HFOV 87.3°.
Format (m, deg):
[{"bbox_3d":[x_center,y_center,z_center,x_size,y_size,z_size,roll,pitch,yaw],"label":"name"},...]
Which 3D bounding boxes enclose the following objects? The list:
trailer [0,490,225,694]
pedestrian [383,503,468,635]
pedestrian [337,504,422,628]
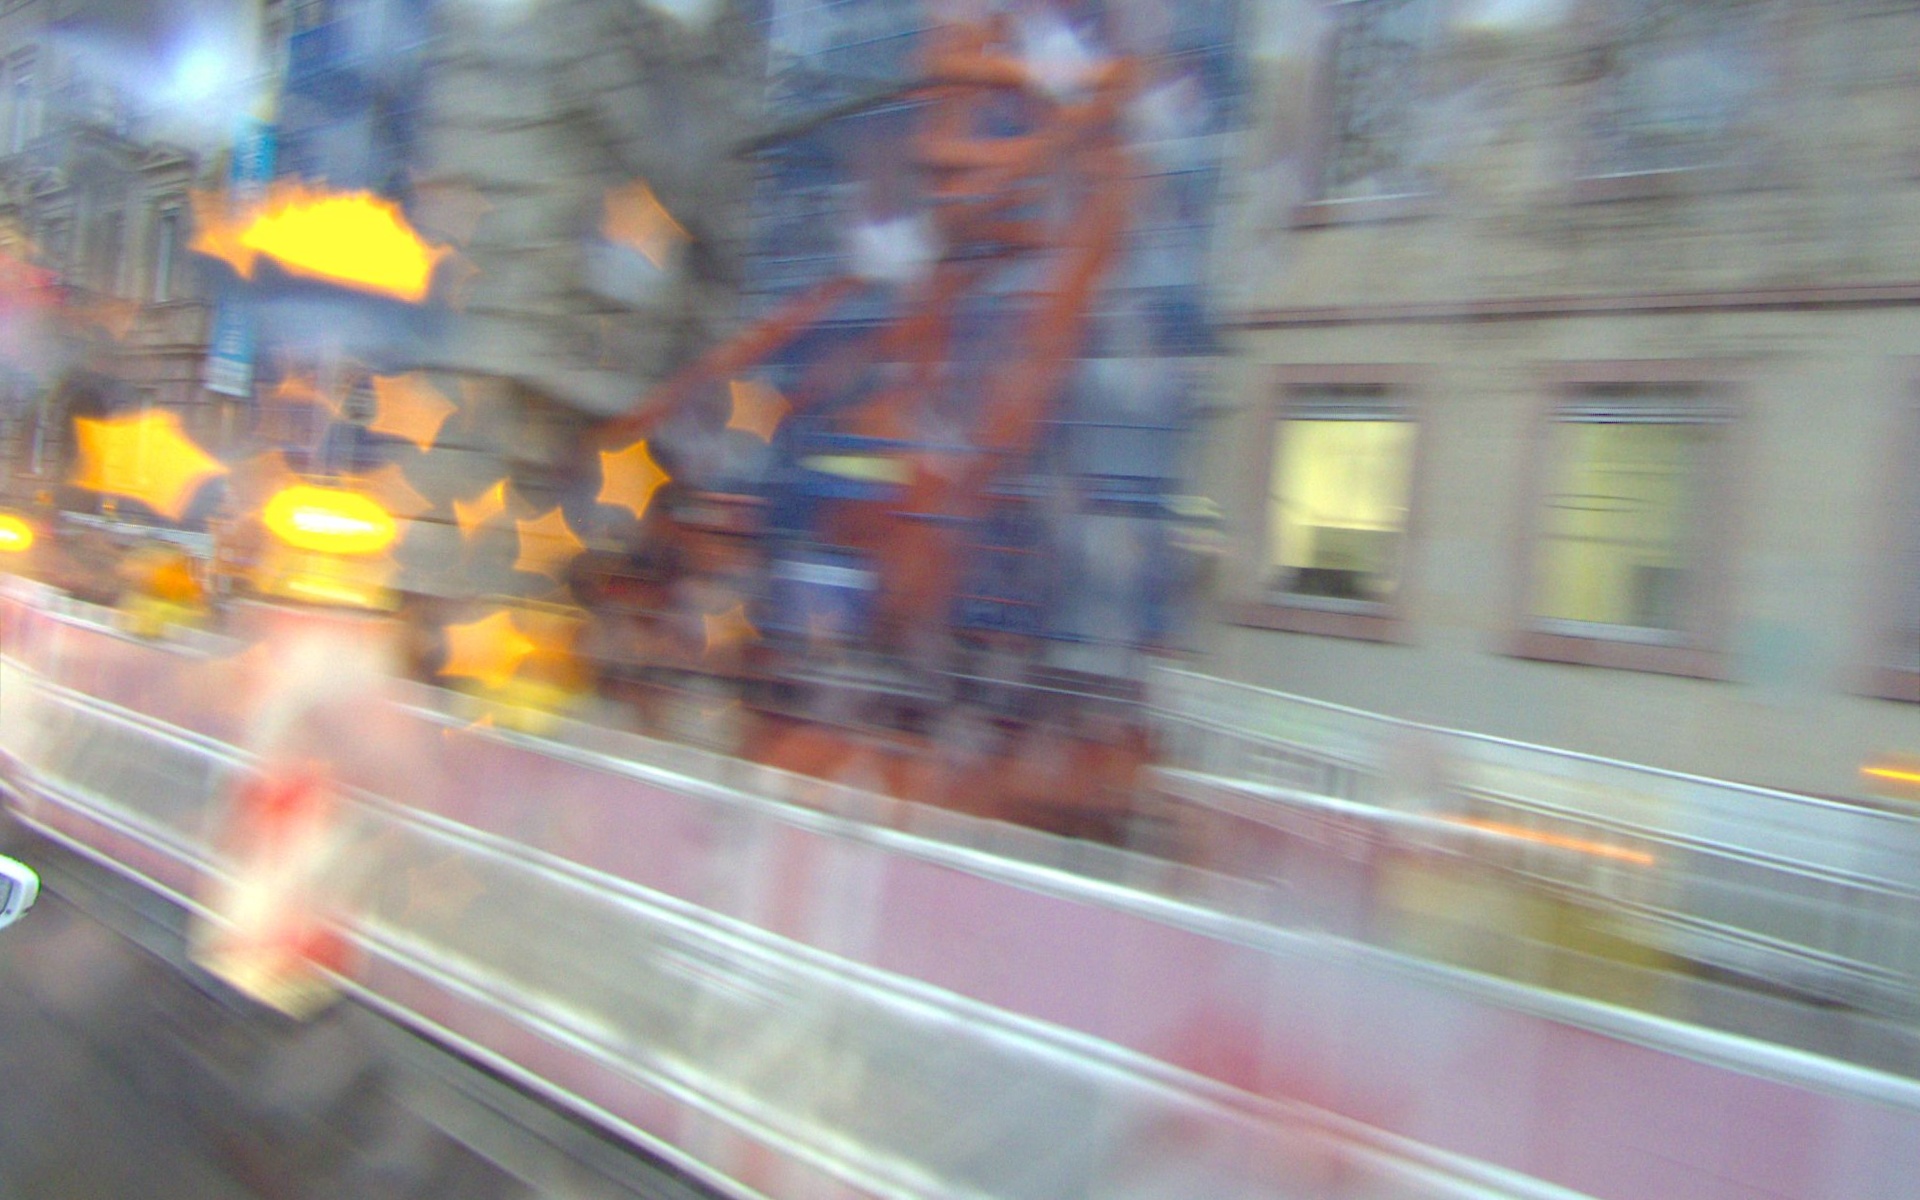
[{"bbox_3d":[-8.968,-0.262,9.161,4.765,1.508,1.838,7,0,30],"label":"trailer"},{"bbox_3d":[-7.425,-0.419,13.978,0.714,1.732,0.642,7,2,30],"label":"pedestrian"},{"bbox_3d":[-8.162,-0.467,14.145,0.639,1.643,0.711,7,2,30],"label":"pedestrian"}]
